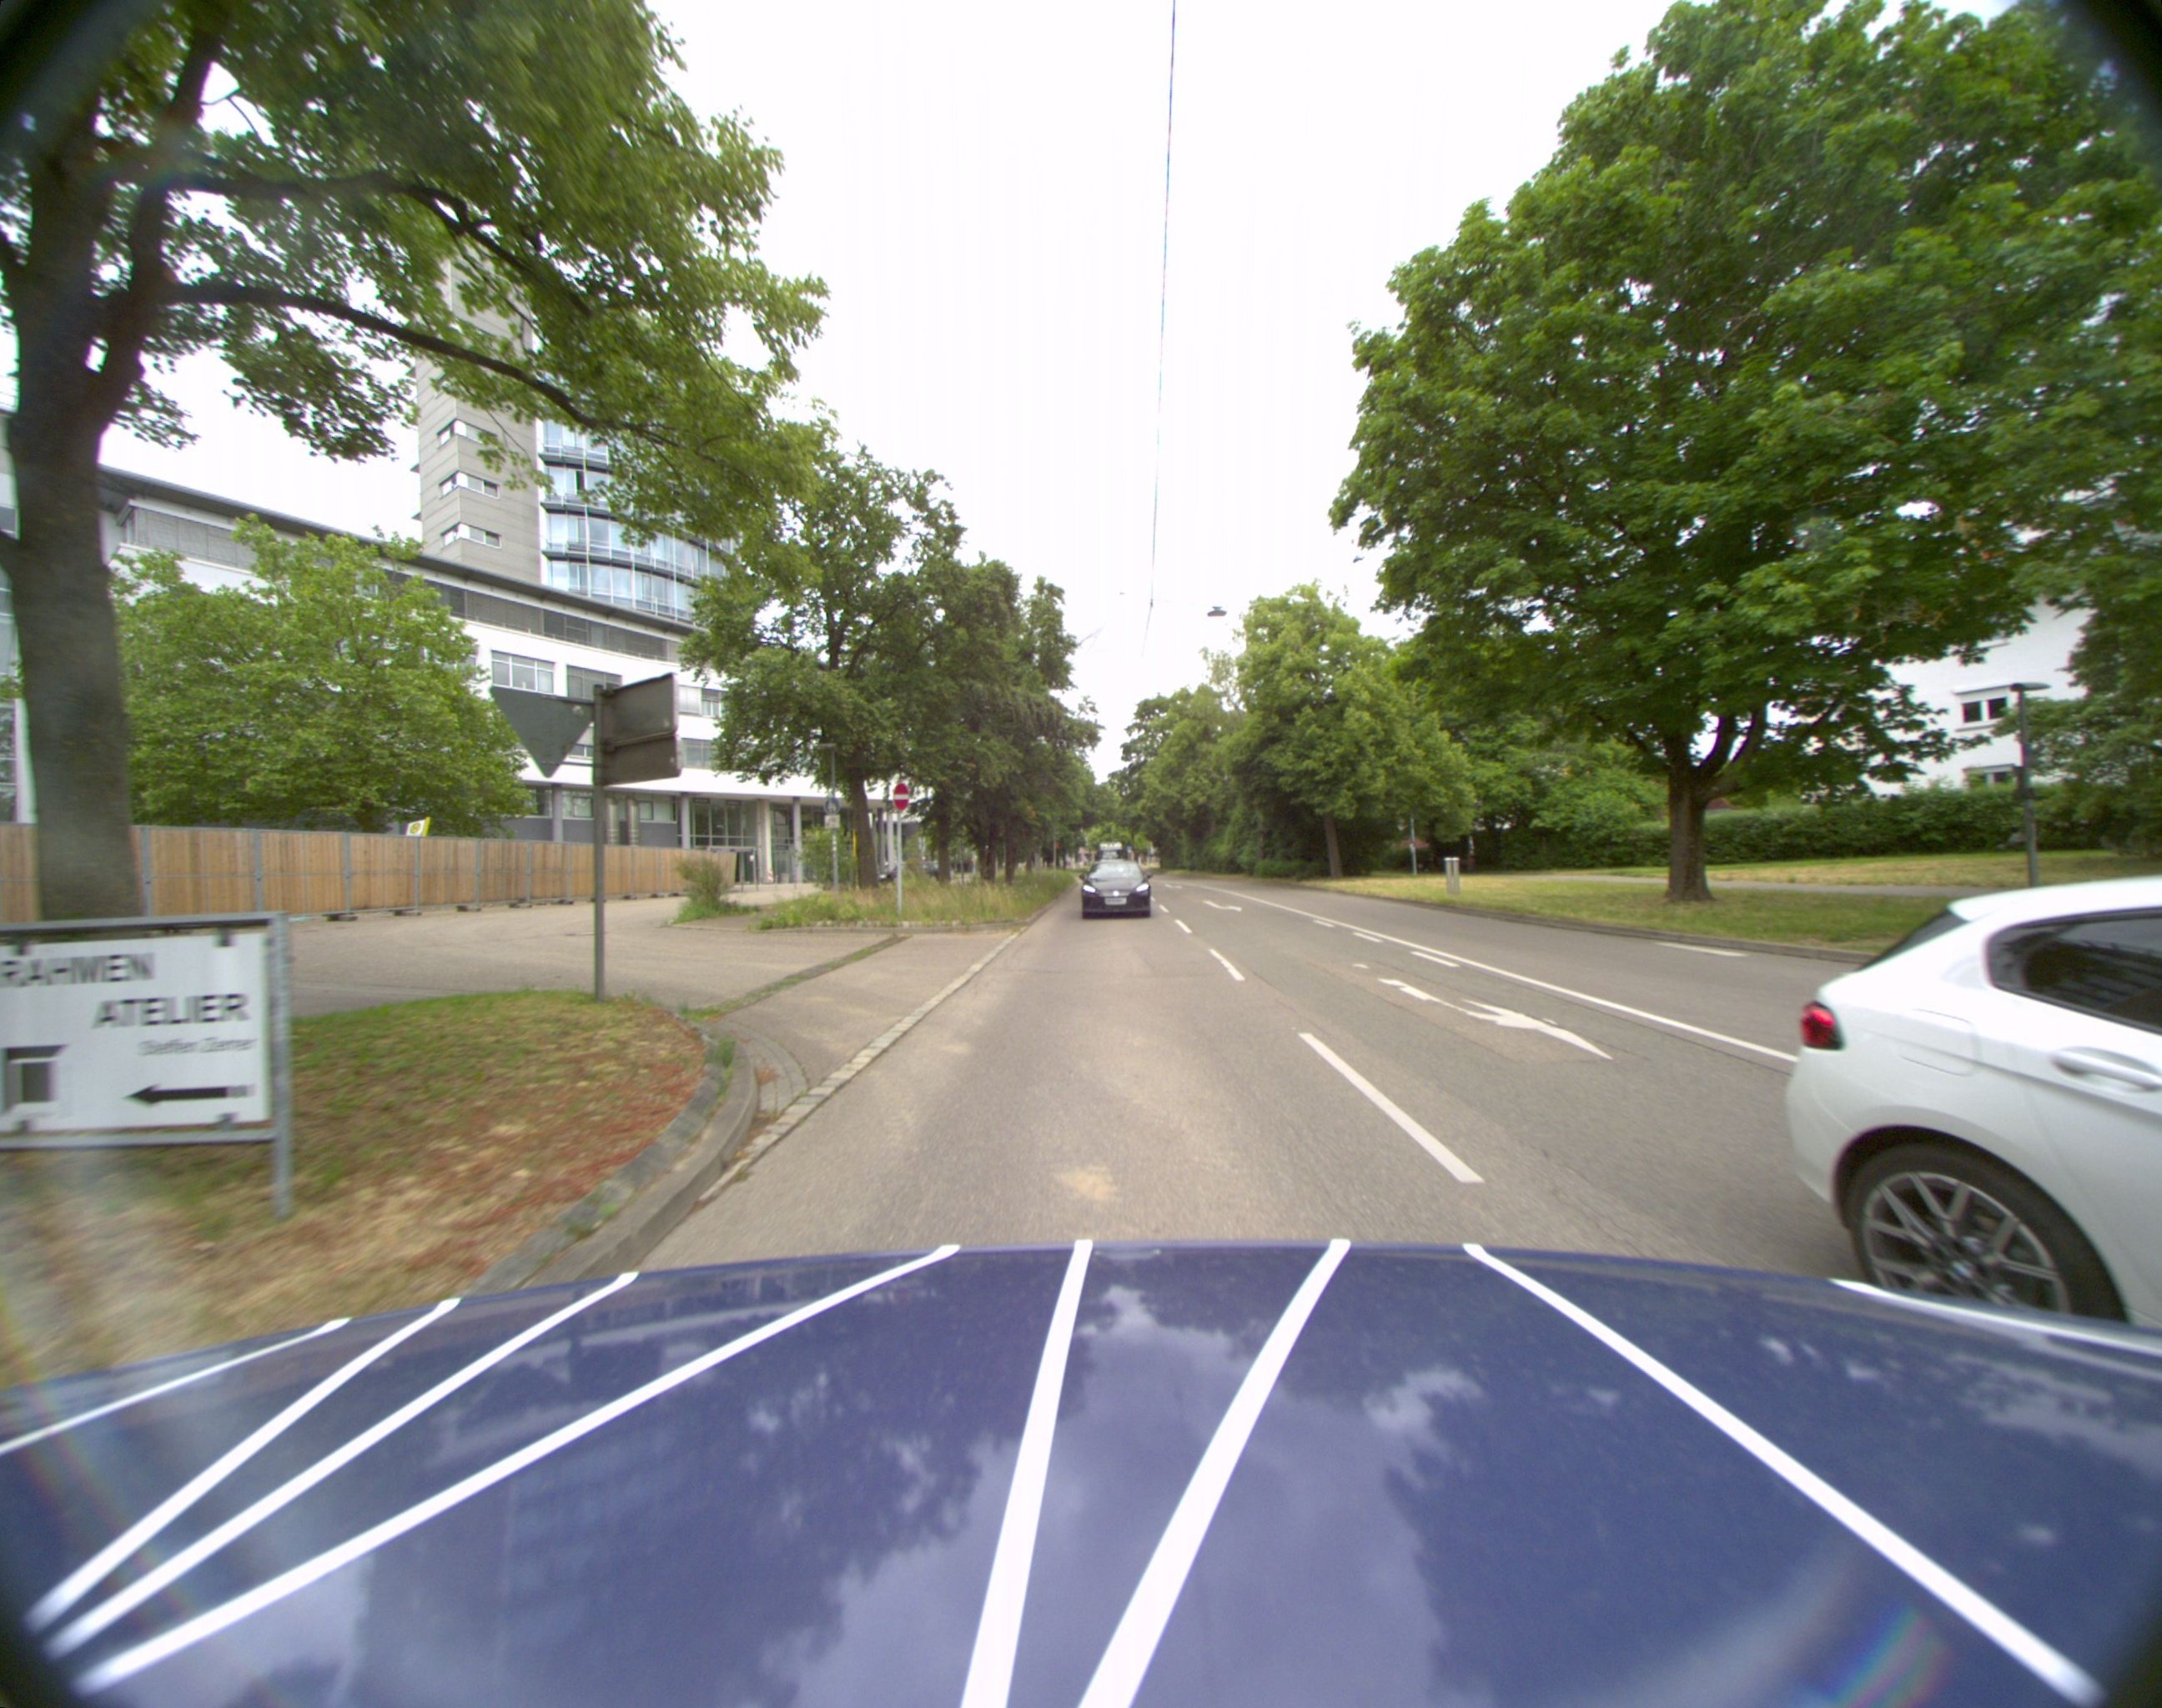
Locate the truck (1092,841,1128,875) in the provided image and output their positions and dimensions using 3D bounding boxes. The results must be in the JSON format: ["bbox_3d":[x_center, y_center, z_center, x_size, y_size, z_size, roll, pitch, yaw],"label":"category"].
[{"bbox_3d":[2.782,0.408,75.237,2.437,3.176,6.462,-2,0,-7],"label":"truck"}]

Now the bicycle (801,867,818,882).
[{"bbox_3d":[-21.219,1.595,59.323,1.397,1.066,0.393,-3,1,31],"label":"bicycle"}]

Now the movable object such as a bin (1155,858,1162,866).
[{"bbox_3d":[9.109,0.919,88.753,0.599,0.840,0.579,-6,-1,23],"label":"movable object such as a bin"}]

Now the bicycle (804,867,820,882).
[{"bbox_3d":[-21.195,1.605,59.862,1.397,1.066,0.393,-3,1,31],"label":"bicycle"}]

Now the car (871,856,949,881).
[{"bbox_3d":[-11.368,0.961,50.745,4.752,1.508,1.866,-1,0,-42],"label":"car"}]

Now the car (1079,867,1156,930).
[{"bbox_3d":[0.911,1.142,20.988,1.800,1.475,4.019,-1,0,-2],"label":"car"}]

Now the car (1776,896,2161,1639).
[{"bbox_3d":[3.162,0.914,0.401,1.800,1.508,4.207,-3,0,2],"label":"car"}]

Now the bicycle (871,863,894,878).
[{"bbox_3d":[-16.437,1.378,62.864,1.739,1.141,0.490,-3,1,-13],"label":"bicycle"}]
